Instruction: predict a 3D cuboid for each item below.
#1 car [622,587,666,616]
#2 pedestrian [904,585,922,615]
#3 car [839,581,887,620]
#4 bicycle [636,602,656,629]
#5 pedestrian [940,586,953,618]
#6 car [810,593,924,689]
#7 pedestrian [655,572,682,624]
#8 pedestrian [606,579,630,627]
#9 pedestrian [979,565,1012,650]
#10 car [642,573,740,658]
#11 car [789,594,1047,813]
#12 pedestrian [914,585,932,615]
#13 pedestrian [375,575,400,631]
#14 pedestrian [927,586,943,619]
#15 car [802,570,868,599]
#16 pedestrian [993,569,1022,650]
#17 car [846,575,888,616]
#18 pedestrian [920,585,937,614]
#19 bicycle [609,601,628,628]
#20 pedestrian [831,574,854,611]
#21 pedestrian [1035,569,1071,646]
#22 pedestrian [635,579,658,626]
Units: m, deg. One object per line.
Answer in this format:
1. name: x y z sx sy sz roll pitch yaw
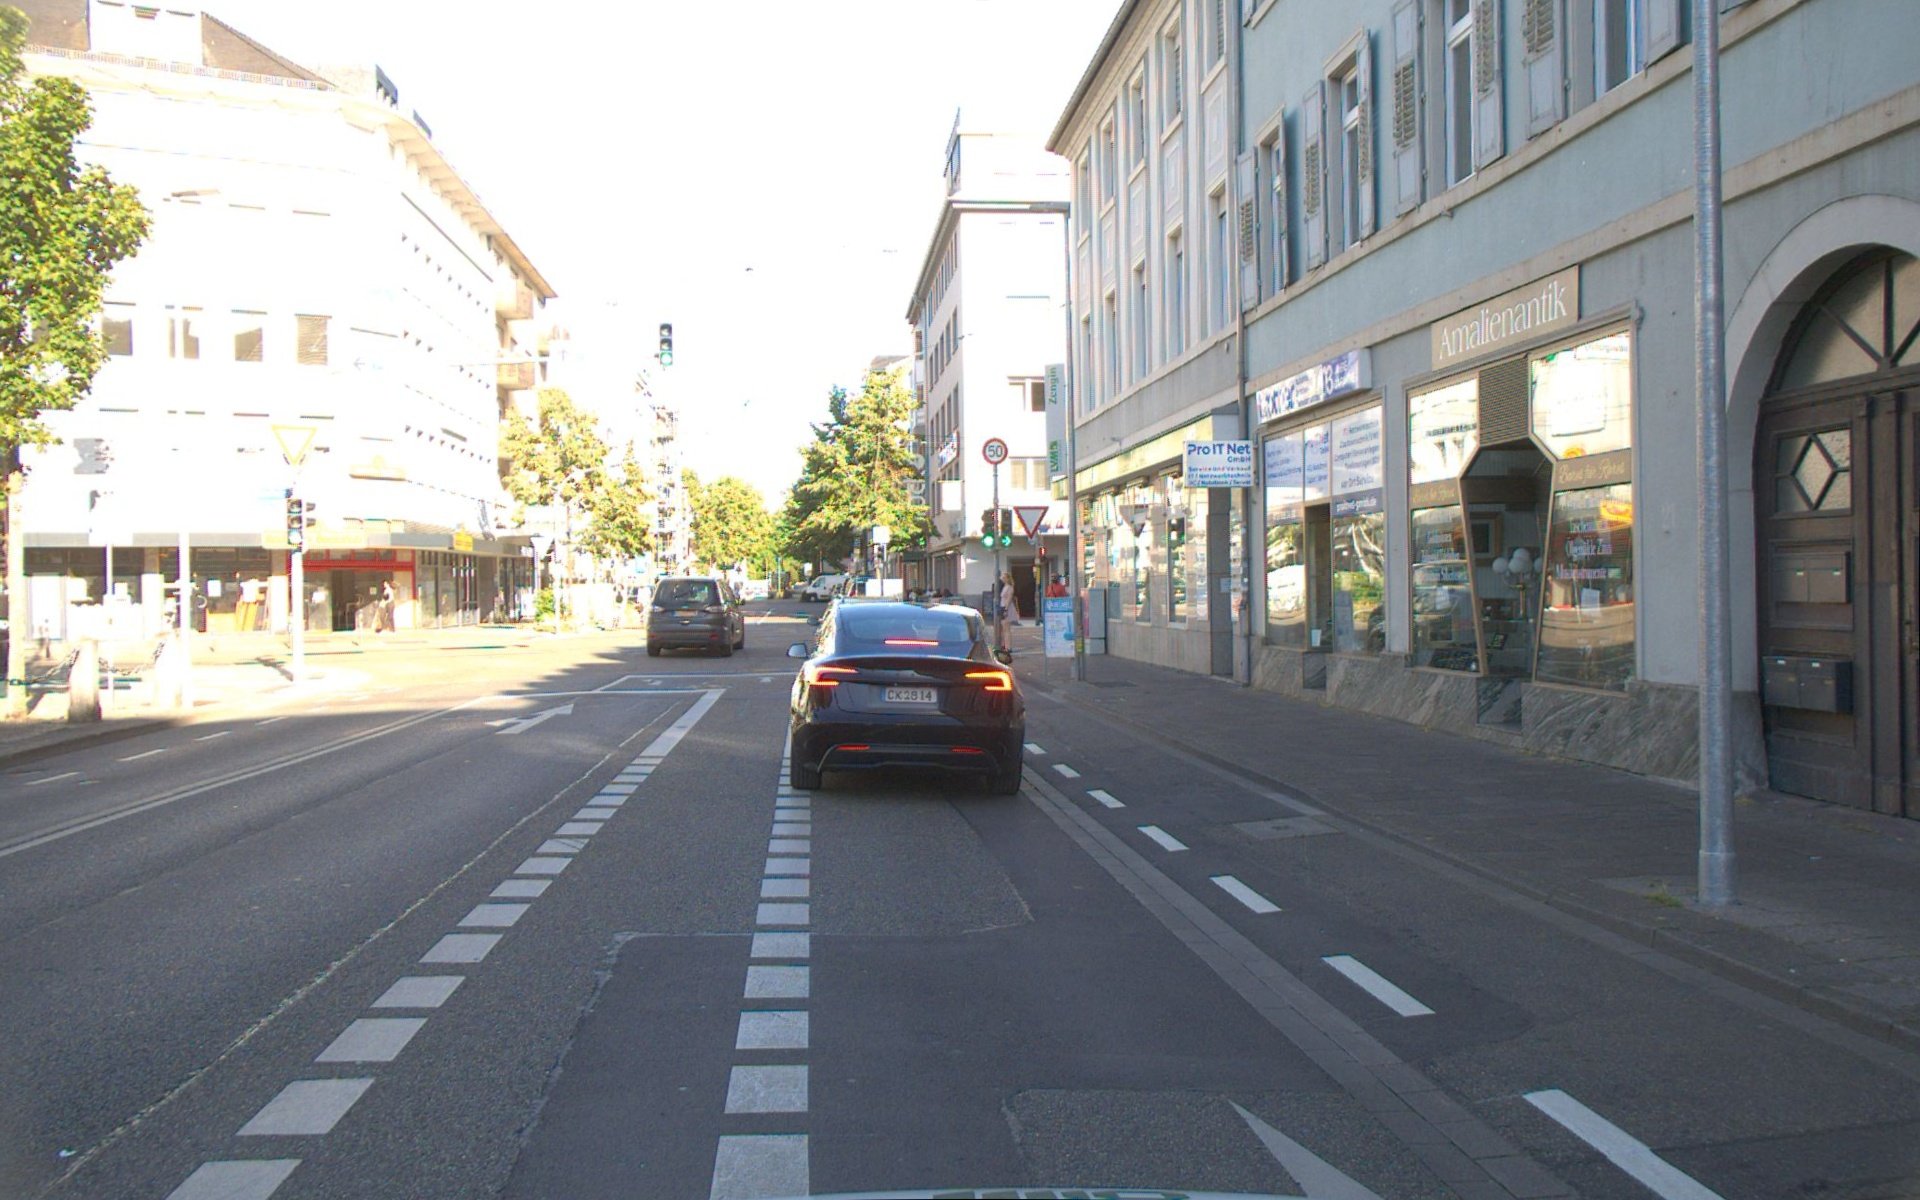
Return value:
1. car: -18.150 0.047 95.153 1.954 1.626 3.997 0 0 -4
2. pedestrian: -2.237 -0.006 78.422 0.696 1.371 1.058 -2 0 -9
3. car: -4.321 0.008 73.266 1.962 1.665 4.284 -1 1 -5
4. bicycle: -11.861 0.569 62.391 0.543 0.985 1.786 -2 0 -17
5. pedestrian: -0.556 0.080 68.725 0.477 1.345 0.654 -2 0 2
6. car: -1.558 0.625 27.532 1.727 1.443 4.351 -1 0 -4
7. pedestrian: -11.047 -0.067 62.644 0.767 1.898 0.996 -4 2 -20
8. pedestrian: -12.650 0.100 61.217 0.779 1.742 0.650 -1 0 -20
9. pedestrian: 0.801 0.161 37.216 0.627 1.874 0.681 -1 0 -6
10. car: -5.989 0.306 37.225 1.867 1.763 4.284 -1 1 -5
11. car: -0.463 0.733 14.056 1.833 1.452 4.361 -1 1 -5
12. pedestrian: -1.743 -0.003 77.357 0.717 1.371 1.058 -2 0 -8
13. pedestrian: -18.158 0.097 52.461 0.548 1.739 0.711 -2 0 -8
14. pedestrian: -1.025 0.099 67.896 0.575 1.336 0.560 -2 0 -6
15. car: -10.186 -1.247 134.644 5.288 2.183 1.997 -2 0 -7
16. pedestrian: 1.049 0.214 36.696 0.561 1.790 0.648 0 -1 -6
17. car: -4.516 -0.223 79.698 1.867 1.884 4.284 -1 1 -5
18. pedestrian: -1.488 -0.030 78.657 0.716 1.384 0.957 -2 0 -6
19. bicycle: -12.710 0.543 61.530 0.473 0.972 1.447 -2 0 -19
20. pedestrian: -6.367 -0.401 89.591 0.937 1.949 1.106 -1 0 11
21. pedestrian: 2.159 0.160 38.383 0.676 1.732 0.911 -2 1 -4
22. pedestrian: -11.852 0.076 62.497 0.766 1.758 0.556 -1 0 -20
